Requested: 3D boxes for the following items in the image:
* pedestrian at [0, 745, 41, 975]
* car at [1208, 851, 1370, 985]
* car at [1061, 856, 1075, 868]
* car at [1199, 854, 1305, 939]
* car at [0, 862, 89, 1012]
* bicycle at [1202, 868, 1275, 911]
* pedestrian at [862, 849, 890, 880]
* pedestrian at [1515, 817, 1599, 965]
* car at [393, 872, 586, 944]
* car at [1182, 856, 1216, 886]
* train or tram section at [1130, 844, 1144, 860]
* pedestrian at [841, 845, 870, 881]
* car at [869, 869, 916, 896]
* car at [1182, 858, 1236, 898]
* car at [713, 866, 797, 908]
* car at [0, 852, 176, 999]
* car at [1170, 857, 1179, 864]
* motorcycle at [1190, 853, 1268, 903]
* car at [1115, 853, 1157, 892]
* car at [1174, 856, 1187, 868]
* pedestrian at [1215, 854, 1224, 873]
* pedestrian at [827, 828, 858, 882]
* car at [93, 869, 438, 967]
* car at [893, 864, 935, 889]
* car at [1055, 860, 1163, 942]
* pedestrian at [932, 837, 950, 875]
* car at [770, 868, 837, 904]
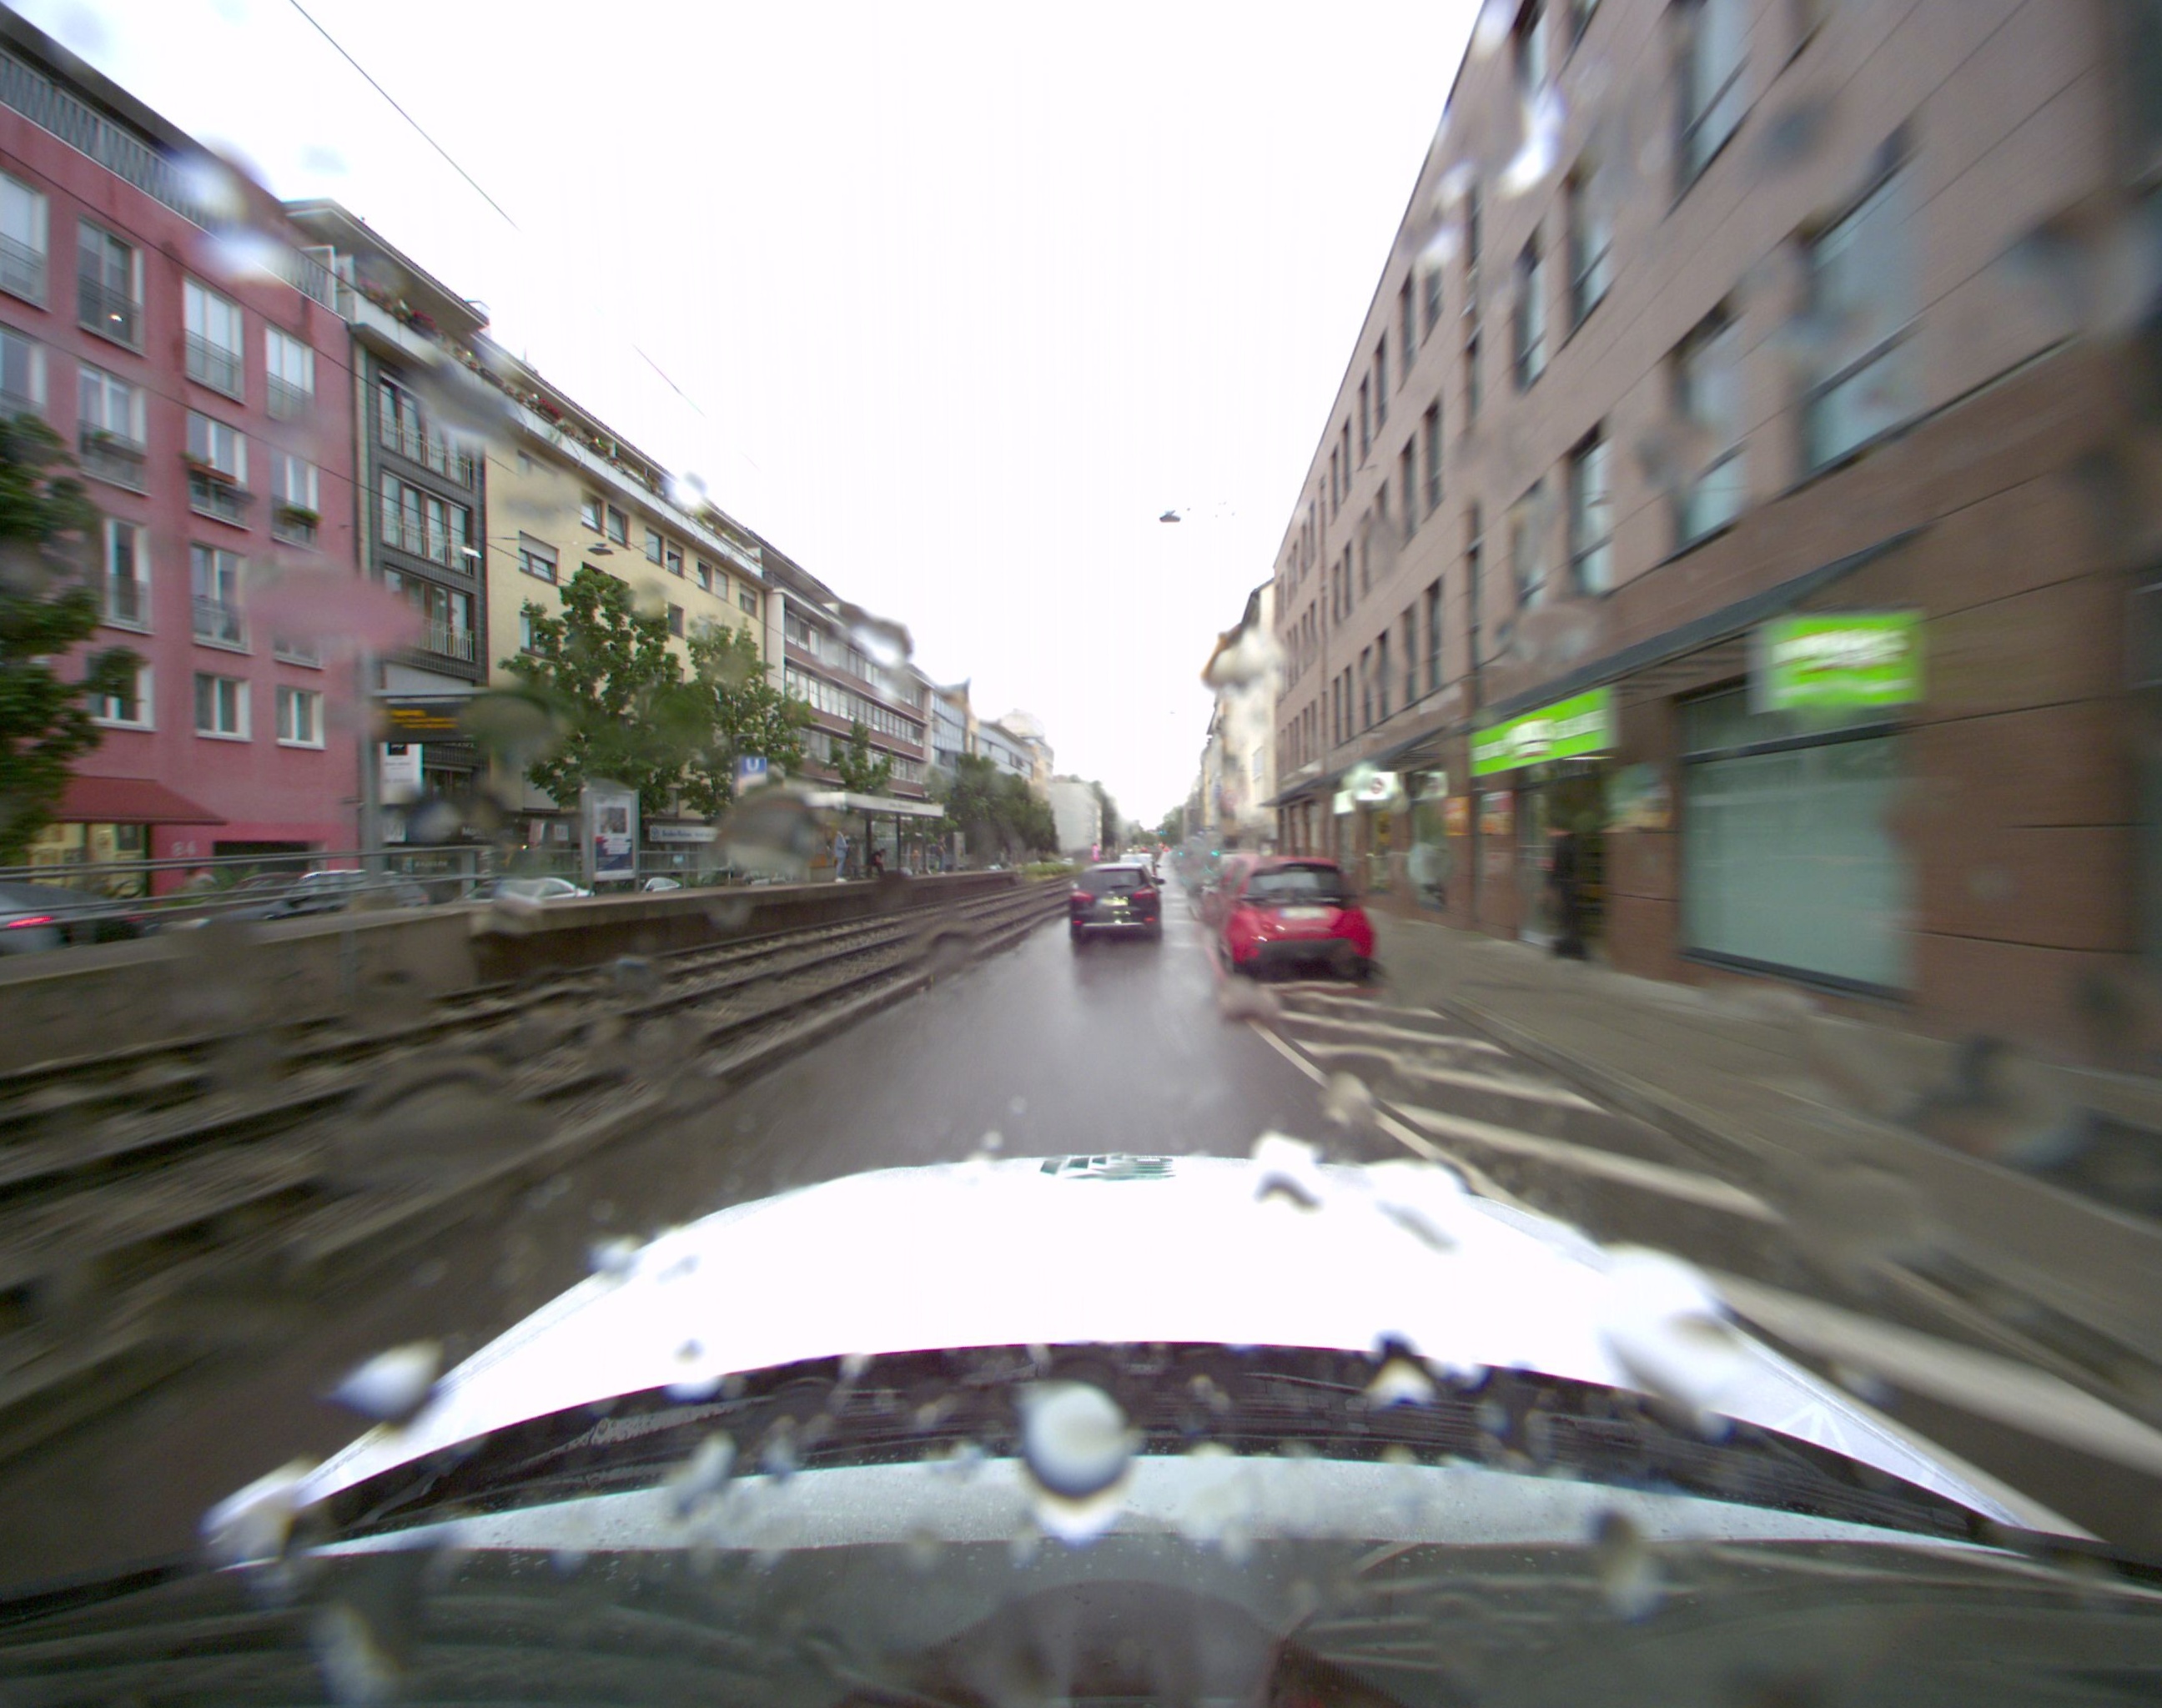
[{"bbox_3d":[-10.027,0.060,6.719,1.110,2.014,1.385,-2,-1,6],"label":"pedestrian"},{"bbox_3d":[2.703,0.762,11.391,1.689,1.479,3.875,-3,-1,7],"label":"car"},{"bbox_3d":[-2.014,1.313,130.968,1.898,1.865,4.577,-1,-1,3],"label":"car"},{"bbox_3d":[3.361,0.785,16.629,1.690,1.462,3.874,-3,-1,6],"label":"car"},{"bbox_3d":[-12.602,0.909,6.956,1.797,1.578,5.030,-1,0,7],"label":"car"},{"bbox_3d":[4.033,0.904,20.893,1.778,1.031,0.463,-2,-1,5],"label":"bicycle"},{"bbox_3d":[-7.759,0.383,30.894,0.890,1.123,0.848,-1,0,-5],"label":"pedestrian"},{"bbox_3d":[5.555,0.424,9.539,0.598,1.659,0.626,-2,-1,6],"label":"pedestrian"},{"bbox_3d":[-14.012,1.215,19.608,1.561,1.436,3.982,-1,0,3],"label":"car"},{"bbox_3d":[6.949,0.964,48.326,1.798,1.631,5.178,-1,0,6],"label":"car"},{"bbox_3d":[14.058,-0.488,204.587,3.498,3.777,11.342,-1,0,4],"label":"train or tram section"},{"bbox_3d":[-7.955,0.320,28.729,0.689,1.249,0.885,-1,0,4],"label":"pedestrian"},{"bbox_3d":[-11.004,1.644,47.774,1.561,1.436,4.242,-1,0,3],"label":"car"},{"bbox_3d":[5.229,0.936,33.760,1.766,1.468,4.614,-1,0,4],"label":"car"},{"bbox_3d":[-12.524,1.234,31.542,1.561,1.436,3.739,-1,0,3],"label":"car"},{"bbox_3d":[-14.603,0.928,10.050,1.794,1.858,4.385,-1,0,4],"label":"car"},{"bbox_3d":[20.852,1.429,181.452,1.896,1.633,4.583,-1,-1,7],"label":"car"},{"bbox_3d":[4.331,0.695,23.772,2.065,1.407,0.803,-2,-1,24],"label":"motorcycle"},{"bbox_3d":[2.845,0.904,41.049,1.897,1.865,4.581,-1,-1,6],"label":"car"},{"bbox_3d":[14.673,1.176,119.727,1.896,1.633,4.583,-1,-1,7],"label":"car"},{"bbox_3d":[12.000,0.828,70.446,0.692,1.652,0.967,-1,0,5],"label":"pedestrian"},{"bbox_3d":[-7.677,0.034,26.264,0.652,1.711,0.851,-1,0,4],"label":"pedestrian"},{"bbox_3d":[-14.536,1.047,14.968,1.833,1.436,4.323,-1,0,3],"label":"car"},{"bbox_3d":[-10.727,1.412,52.568,1.561,1.436,4.181,-1,0,3],"label":"car"},{"bbox_3d":[0.680,0.879,16.528,1.896,1.462,3.451,-1,-1,6],"label":"car"},{"bbox_3d":[-6.834,0.083,39.697,0.652,1.801,0.851,-1,0,4],"label":"pedestrian"},{"bbox_3d":[-12.471,1.403,36.841,1.561,1.436,3.739,-1,0,3],"label":"car"}]
